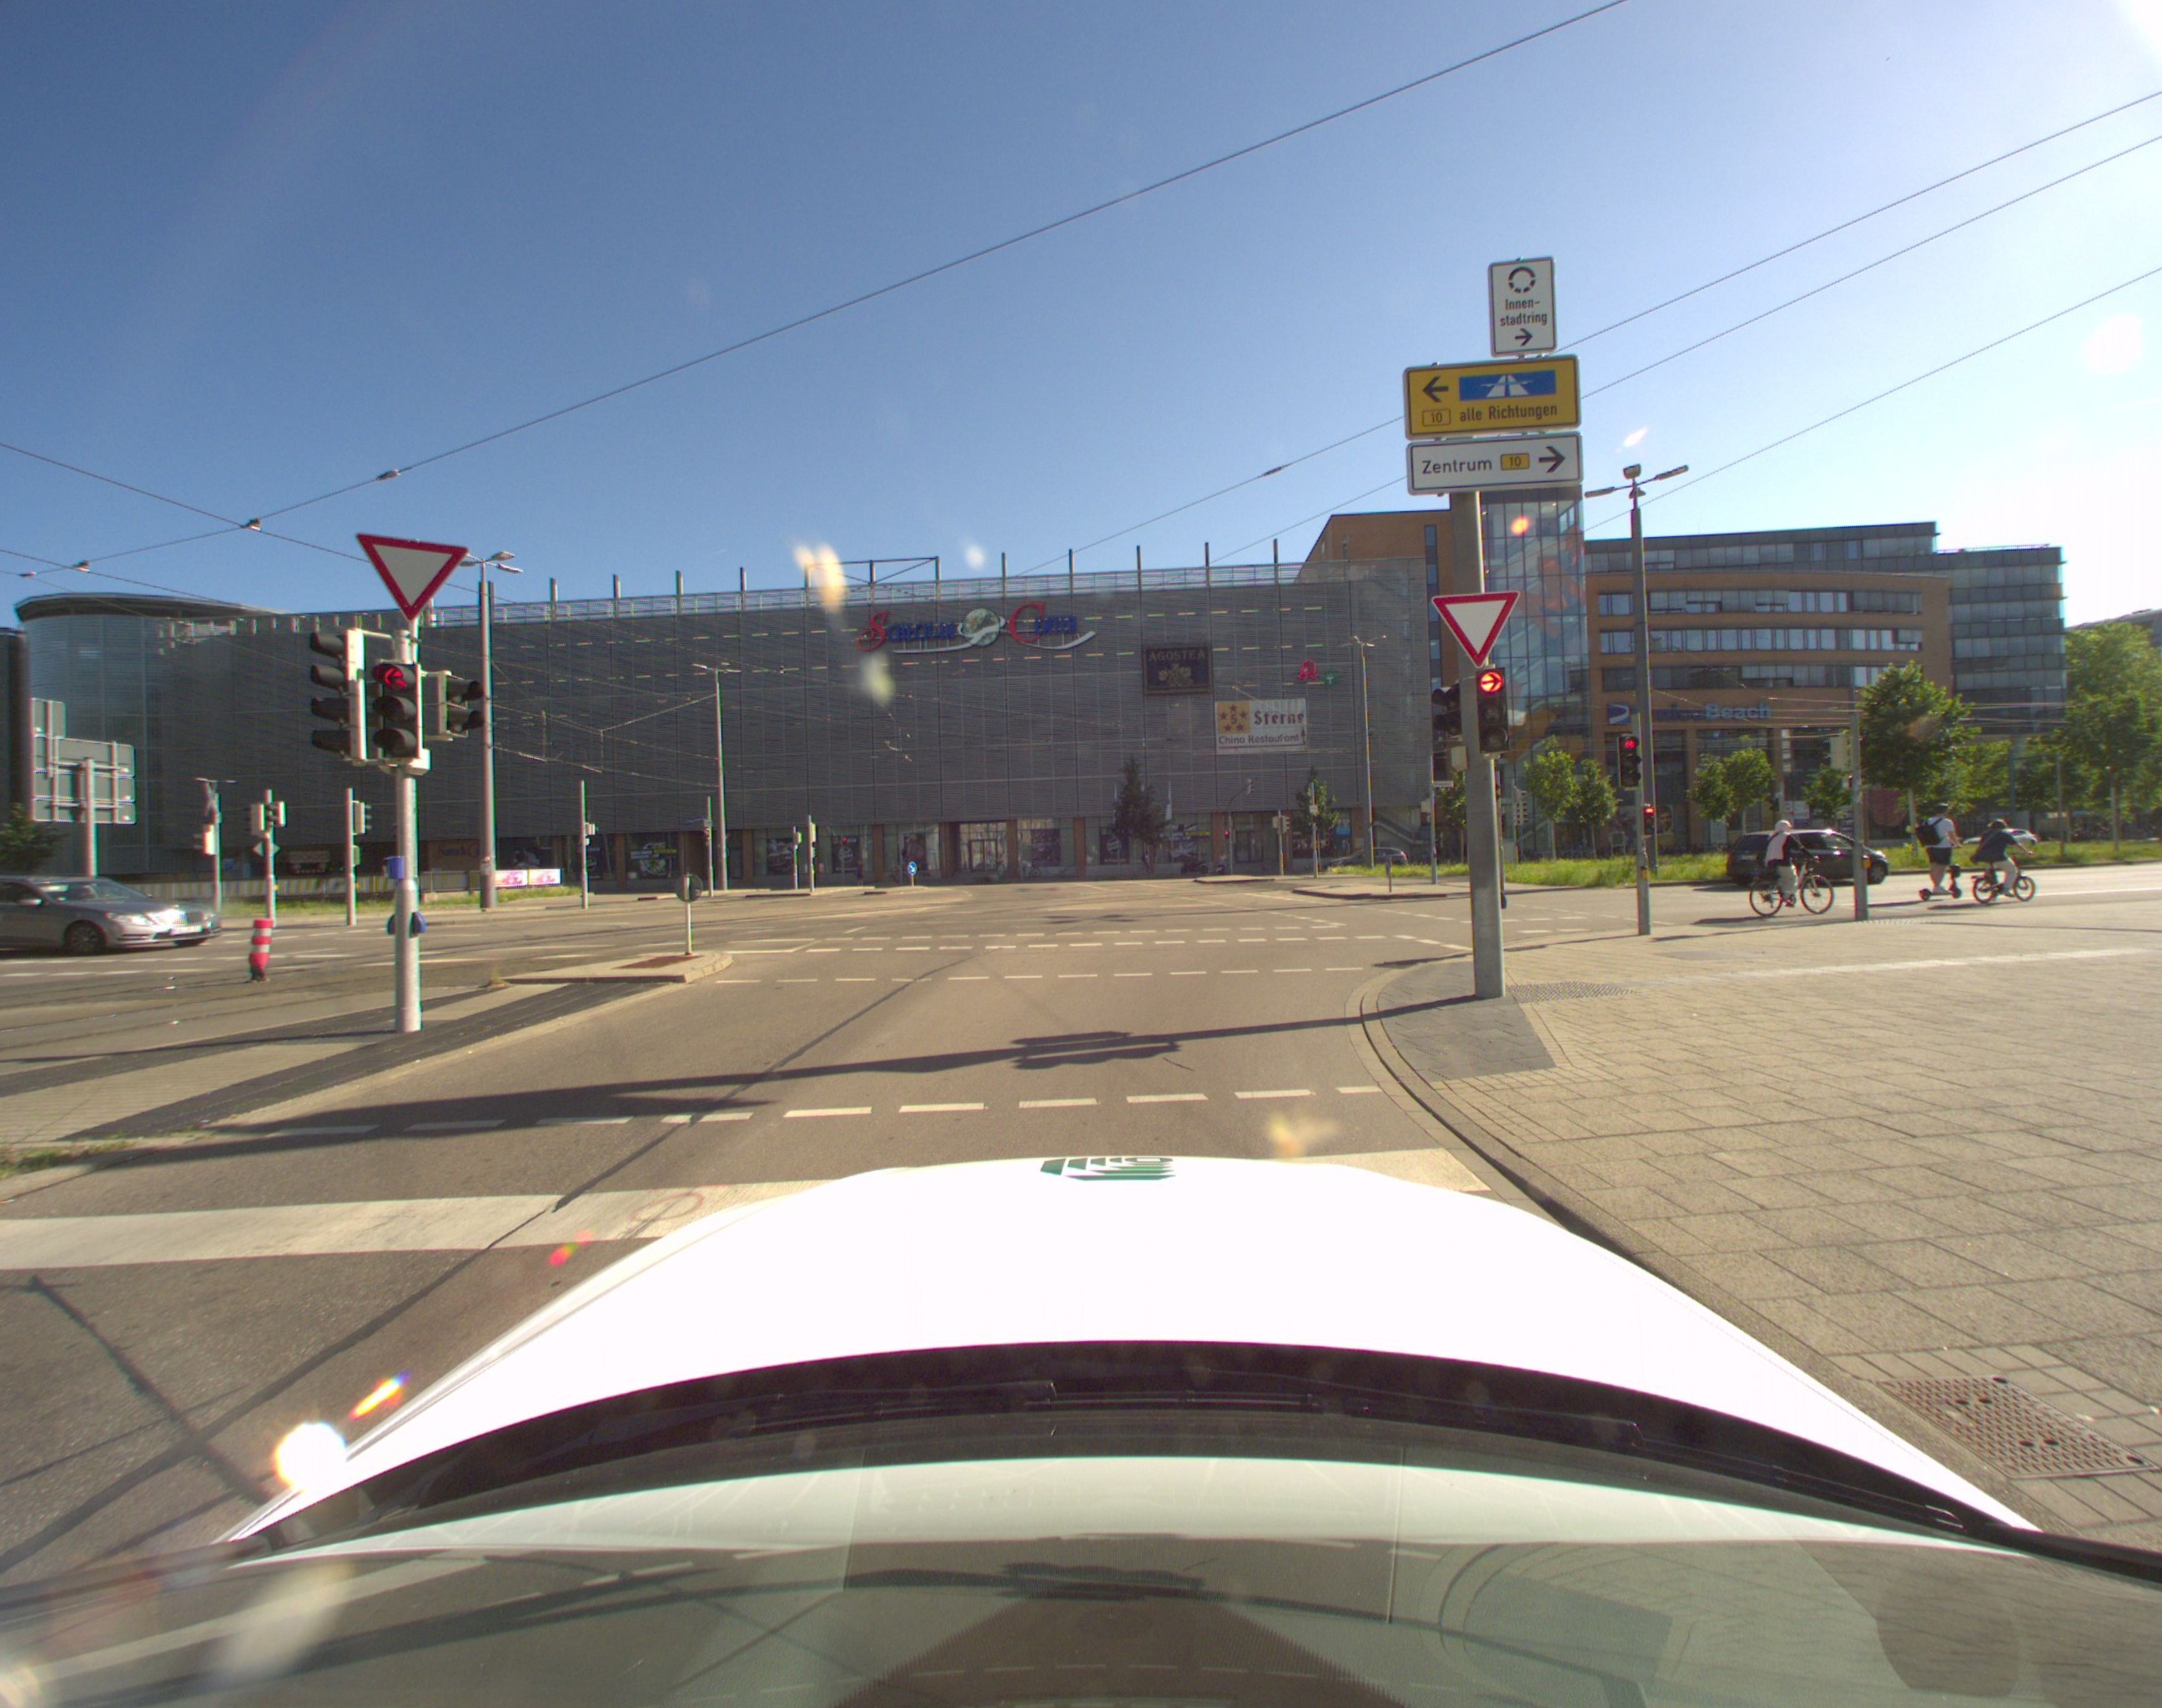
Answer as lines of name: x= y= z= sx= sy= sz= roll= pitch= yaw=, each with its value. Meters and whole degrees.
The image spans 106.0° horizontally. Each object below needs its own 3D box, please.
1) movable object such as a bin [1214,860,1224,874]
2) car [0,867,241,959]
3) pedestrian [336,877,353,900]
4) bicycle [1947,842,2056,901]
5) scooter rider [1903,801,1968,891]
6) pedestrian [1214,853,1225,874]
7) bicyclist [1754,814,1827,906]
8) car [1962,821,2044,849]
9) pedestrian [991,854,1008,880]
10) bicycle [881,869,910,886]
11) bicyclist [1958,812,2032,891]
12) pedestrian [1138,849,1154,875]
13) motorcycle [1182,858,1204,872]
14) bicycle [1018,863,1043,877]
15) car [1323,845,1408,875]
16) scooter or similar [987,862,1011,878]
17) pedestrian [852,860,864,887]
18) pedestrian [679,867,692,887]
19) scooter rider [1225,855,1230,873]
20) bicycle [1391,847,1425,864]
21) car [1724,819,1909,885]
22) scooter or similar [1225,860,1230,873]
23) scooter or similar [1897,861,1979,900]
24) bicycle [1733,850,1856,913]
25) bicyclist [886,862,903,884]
movable object such as a bin: x=9.273 y=0.879 z=54.739 sx=0.608 sy=0.904 sz=0.972 roll=-1 pitch=-1 yaw=12
car: x=-19.508 y=1.122 z=15.634 sx=4.842 sy=1.572 sz=1.706 roll=-2 pitch=0 yaw=-2
pedestrian: x=-52.571 y=2.480 z=58.120 sx=0.656 sy=1.601 sz=0.652 roll=-1 pitch=-1 yaw=8
bicycle: x=18.501 y=0.344 z=16.382 sx=1.753 sy=1.137 sz=0.585 roll=0 pitch=-1 yaw=-9
scooter rider: x=18.081 y=-0.171 z=17.239 sx=0.783 sy=1.872 sz=0.572 roll=0 pitch=-1 yaw=-8
pedestrian: x=9.406 y=0.628 z=55.202 sx=0.650 sy=1.414 sz=0.853 roll=-1 pitch=-1 yaw=12
bicyclist: x=13.397 y=0.115 z=15.394 sx=0.881 sy=1.707 sz=0.573 roll=0 pitch=-1 yaw=-5
car: x=60.998 y=-1.229 z=53.882 sx=4.294 sy=1.645 sz=1.832 roll=2 pitch=-1 yaw=-13
pedestrian: x=-6.028 y=0.941 z=60.068 sx=0.945 sy=1.828 sz=0.848 roll=-3 pitch=0 yaw=7
bicycle: x=-12.584 y=1.583 z=55.310 sx=0.562 sy=1.086 sz=1.874 roll=-1 pitch=2 yaw=45
bicyclist: x=18.365 y=-0.048 z=16.373 sx=0.882 sy=1.566 sz=0.572 roll=0 pitch=-1 yaw=-8
pedestrian: x=4.734 y=0.574 z=59.133 sx=1.007 sy=1.828 sz=1.037 roll=-3 pitch=0 yaw=5
motorcycle: x=8.314 y=0.828 z=60.596 sx=1.630 sy=1.004 sz=0.448 roll=0 pitch=0 yaw=8
bicycle: x=-3.780 y=1.172 z=60.790 sx=1.815 sy=0.989 sz=0.556 roll=-2 pitch=1 yaw=-8
car: x=15.885 y=0.346 z=45.620 sx=4.132 sy=1.470 sz=1.841 roll=2 pitch=-1 yaw=0
scooter or similar: x=-6.182 y=1.202 z=61.231 sx=1.790 sy=1.066 sz=0.611 roll=-2 pitch=1 yaw=-6
pedestrian: x=-15.201 y=1.309 z=55.461 sx=0.695 sy=1.797 sz=0.727 roll=-3 pitch=0 yaw=-14
pedestrian: x=-30.792 y=1.791 z=63.422 sx=0.654 sy=1.601 sz=0.597 roll=-1 pitch=-1 yaw=20
scooter rider: x=9.909 y=0.703 z=54.949 sx=0.286 sy=1.200 sz=0.387 roll=-1 pitch=-1 yaw=12
bicycle: x=24.344 y=0.109 z=60.619 sx=2.247 sy=1.296 sz=0.606 roll=0 pitch=-1 yaw=0
car: x=19.848 y=-0.058 z=22.057 sx=3.683 sy=1.646 sz=1.644 roll=-2 pitch=0 yaw=-5
scooter or similar: x=9.922 y=0.867 z=55.007 sx=0.293 sy=0.873 sz=1.007 roll=-1 pitch=-1 yaw=12
scooter or similar: x=18.116 y=0.555 z=17.228 sx=1.208 sy=0.786 sz=0.613 roll=0 pitch=-1 yaw=-9
bicycle: x=13.398 y=0.507 z=15.312 sx=1.897 sy=1.137 sz=0.580 roll=-1 pitch=-1 yaw=-5
bicyclist: x=-12.627 y=1.272 z=55.237 sx=0.667 sy=1.427 sz=0.855 roll=-1 pitch=2 yaw=45
